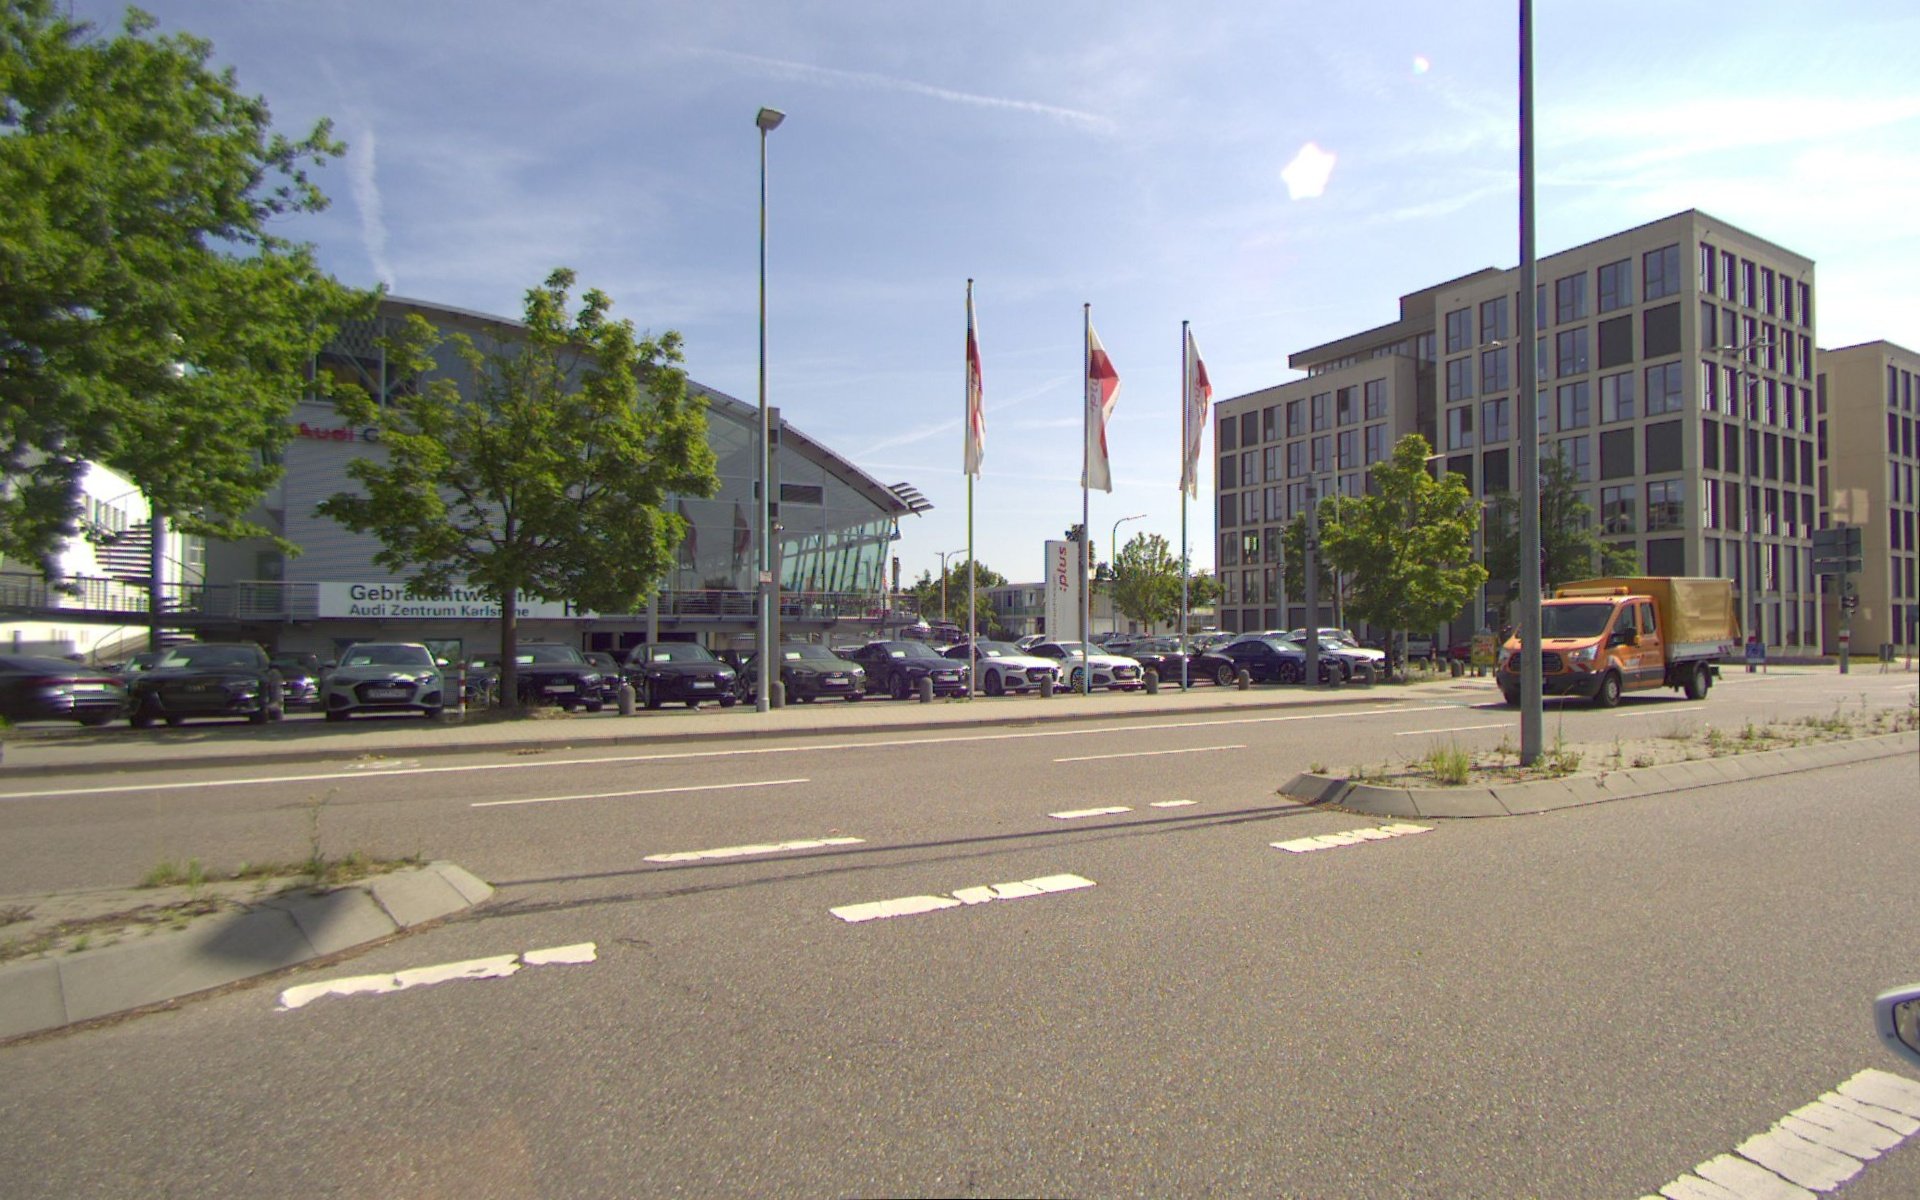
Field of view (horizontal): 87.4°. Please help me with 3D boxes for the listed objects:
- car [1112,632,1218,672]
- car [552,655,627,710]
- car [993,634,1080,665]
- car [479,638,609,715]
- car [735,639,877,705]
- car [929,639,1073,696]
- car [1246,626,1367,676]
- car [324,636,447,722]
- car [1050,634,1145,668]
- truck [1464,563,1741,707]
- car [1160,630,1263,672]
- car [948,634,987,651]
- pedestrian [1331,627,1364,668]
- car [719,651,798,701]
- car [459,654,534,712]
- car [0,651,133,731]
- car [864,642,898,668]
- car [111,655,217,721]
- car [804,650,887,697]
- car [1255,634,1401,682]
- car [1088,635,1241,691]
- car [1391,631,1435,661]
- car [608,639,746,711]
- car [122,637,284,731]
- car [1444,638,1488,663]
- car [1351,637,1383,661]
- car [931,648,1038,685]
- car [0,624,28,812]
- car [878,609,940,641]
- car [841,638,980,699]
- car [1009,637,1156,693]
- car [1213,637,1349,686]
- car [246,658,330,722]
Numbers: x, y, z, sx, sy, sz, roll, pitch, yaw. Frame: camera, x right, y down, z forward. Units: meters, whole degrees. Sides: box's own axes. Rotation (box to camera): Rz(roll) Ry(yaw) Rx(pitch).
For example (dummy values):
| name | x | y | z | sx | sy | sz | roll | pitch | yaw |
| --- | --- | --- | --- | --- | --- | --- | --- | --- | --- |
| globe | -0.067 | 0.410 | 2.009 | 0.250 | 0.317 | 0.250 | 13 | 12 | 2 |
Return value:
| name | x | y | z | sx | sy | sz | roll | pitch | yaw |
| --- | --- | --- | --- | --- | --- | --- | --- | --- | --- |
| car | 9.279 | 2.306 | 45.335 | 4.722 | 1.525 | 1.779 | -2 | -1 | -31 |
| car | -11.344 | 2.468 | 30.660 | 1.571 | 1.493 | 3.491 | 1 | -2 | -30 |
| car | 4.199 | 2.677 | 54.917 | 4.507 | 1.461 | 1.779 | -1 | -1 | -31 |
| car | -8.439 | 1.548 | 20.185 | 1.815 | 1.372 | 4.091 | 1 | -5 | -31 |
| car | -3.635 | 1.673 | 23.069 | 1.833 | 1.352 | 4.157 | 1 | -5 | -30 |
| car | 0.961 | 1.754 | 25.788 | 1.846 | 1.336 | 3.970 | 1 | -5 | -30 |
| car | 13.293 | 1.903 | 38.434 | 4.540 | 1.635 | 1.805 | -2 | -1 | -30 |
| car | -10.712 | 1.471 | 18.742 | 1.781 | 1.412 | 4.197 | 1 | -5 | -30 |
| car | 6.873 | 2.531 | 50.203 | 4.579 | 1.461 | 1.779 | -2 | -1 | -31 |
| truck | 13.736 | 0.777 | 21.311 | 6.601 | 2.658 | 2.362 | 1 | -4 | -33 |
| car | 10.873 | 2.165 | 43.349 | 4.325 | 1.564 | 1.779 | -2 | -1 | -31 |
| car | 0.881 | 4.857 | 115.544 | 4.190 | 1.965 | 1.885 | 1 | -2 | -30 |
| pedestrian | 17.014 | 2.094 | 44.103 | 0.906 | 1.772 | 0.996 | 1 | -2 | -30 |
| car | -6.746 | 2.467 | 33.373 | 1.506 | 1.493 | 3.490 | 1 | -2 | -31 |
| car | -13.669 | 2.385 | 29.539 | 1.670 | 1.493 | 3.643 | 1 | -2 | -30 |
| car | -17.719 | 1.647 | 18.527 | 3.762 | 1.350 | 1.691 | -1 | -2 | 8 |
| car | -4.658 | 3.229 | 59.475 | 1.762 | 1.461 | 4.028 | 0 | -2 | -1 |
| car | -20.280 | 2.181 | 25.728 | 1.671 | 1.456 | 3.797 | 1 | -2 | -32 |
| car | -4.038 | 2.525 | 35.004 | 1.647 | 1.493 | 3.491 | 1 | -2 | -30 |
| car | 11.863 | 1.854 | 32.672 | 1.876 | 1.451 | 4.356 | 1 | -2 | -28 |
| car | 6.058 | 1.809 | 29.604 | 4.373 | 1.515 | 1.789 | 1 | -2 | -30 |
| car | 29.266 | 2.941 | 65.025 | 1.860 | 1.845 | 4.816 | -1 | -2 | 16 |
| car | -6.179 | 1.624 | 21.614 | 1.809 | 1.372 | 4.260 | 1 | -5 | -31 |
| car | -12.968 | 1.450 | 17.453 | 1.788 | 1.420 | 4.006 | 1 | -5 | -31 |
| car | 31.146 | 3.066 | 61.867 | 1.772 | 1.434 | 4.031 | -1 | -2 | 18 |
| car | 27.424 | 3.269 | 67.708 | 1.772 | 1.533 | 4.000 | -1 | -2 | 19 |
| car | 0.988 | 2.632 | 40.431 | 4.019 | 1.396 | 1.779 | 1 | -2 | -31 |
| car | -9.411 | 0.881 | 6.508 | 4.612 | 1.478 | 1.837 | 1 | -4 | -32 |
| car | -3.424 | 1.632 | 66.725 | 2.066 | 1.932 | 4.508 | 5 | -4 | -32 |
| car | -1.284 | 1.682 | 24.294 | 1.815 | 1.336 | 3.972 | 1 | -5 | -29 |
| car | 3.204 | 1.787 | 27.124 | 1.856 | 1.387 | 4.055 | 1 | -5 | -30 |
| car | 9.876 | 1.868 | 31.174 | 1.744 | 1.421 | 3.815 | 1 | -3 | -31 |
| car | -17.976 | 2.348 | 26.989 | 1.671 | 1.493 | 3.798 | 1 | -2 | -31 |
